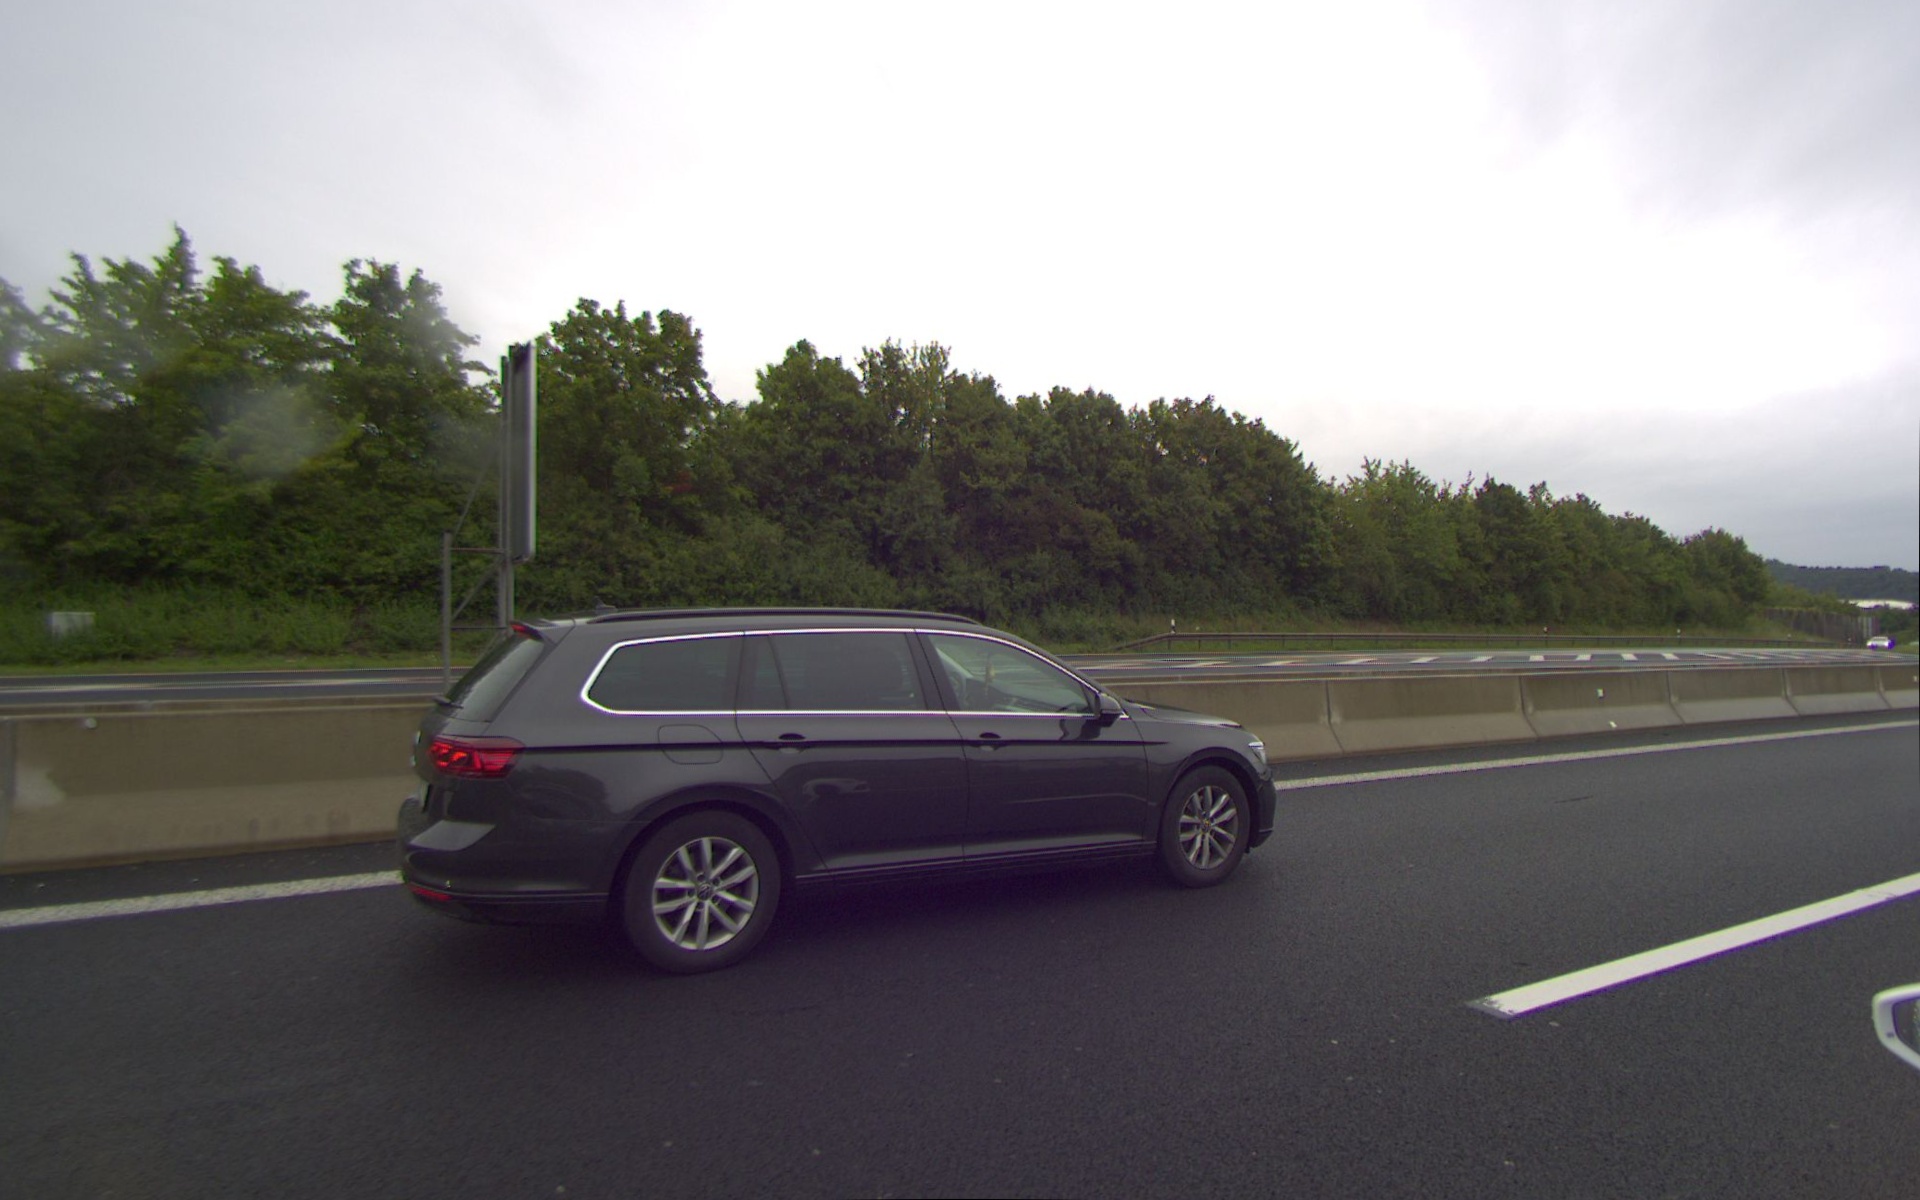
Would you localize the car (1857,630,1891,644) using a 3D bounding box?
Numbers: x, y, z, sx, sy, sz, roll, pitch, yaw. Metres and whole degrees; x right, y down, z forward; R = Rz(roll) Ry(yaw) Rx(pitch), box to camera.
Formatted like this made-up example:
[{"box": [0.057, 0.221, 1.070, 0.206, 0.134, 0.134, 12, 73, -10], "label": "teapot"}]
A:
[{"box": [101.809, 4.131, 111.848, 4.350, 1.449, 2.163, 1, -1, -38], "label": "car"}]

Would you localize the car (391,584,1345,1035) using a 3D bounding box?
[{"box": [-0.304, 0.753, 5.425, 4.794, 1.517, 1.891, 1, -1, -30], "label": "car"}]
